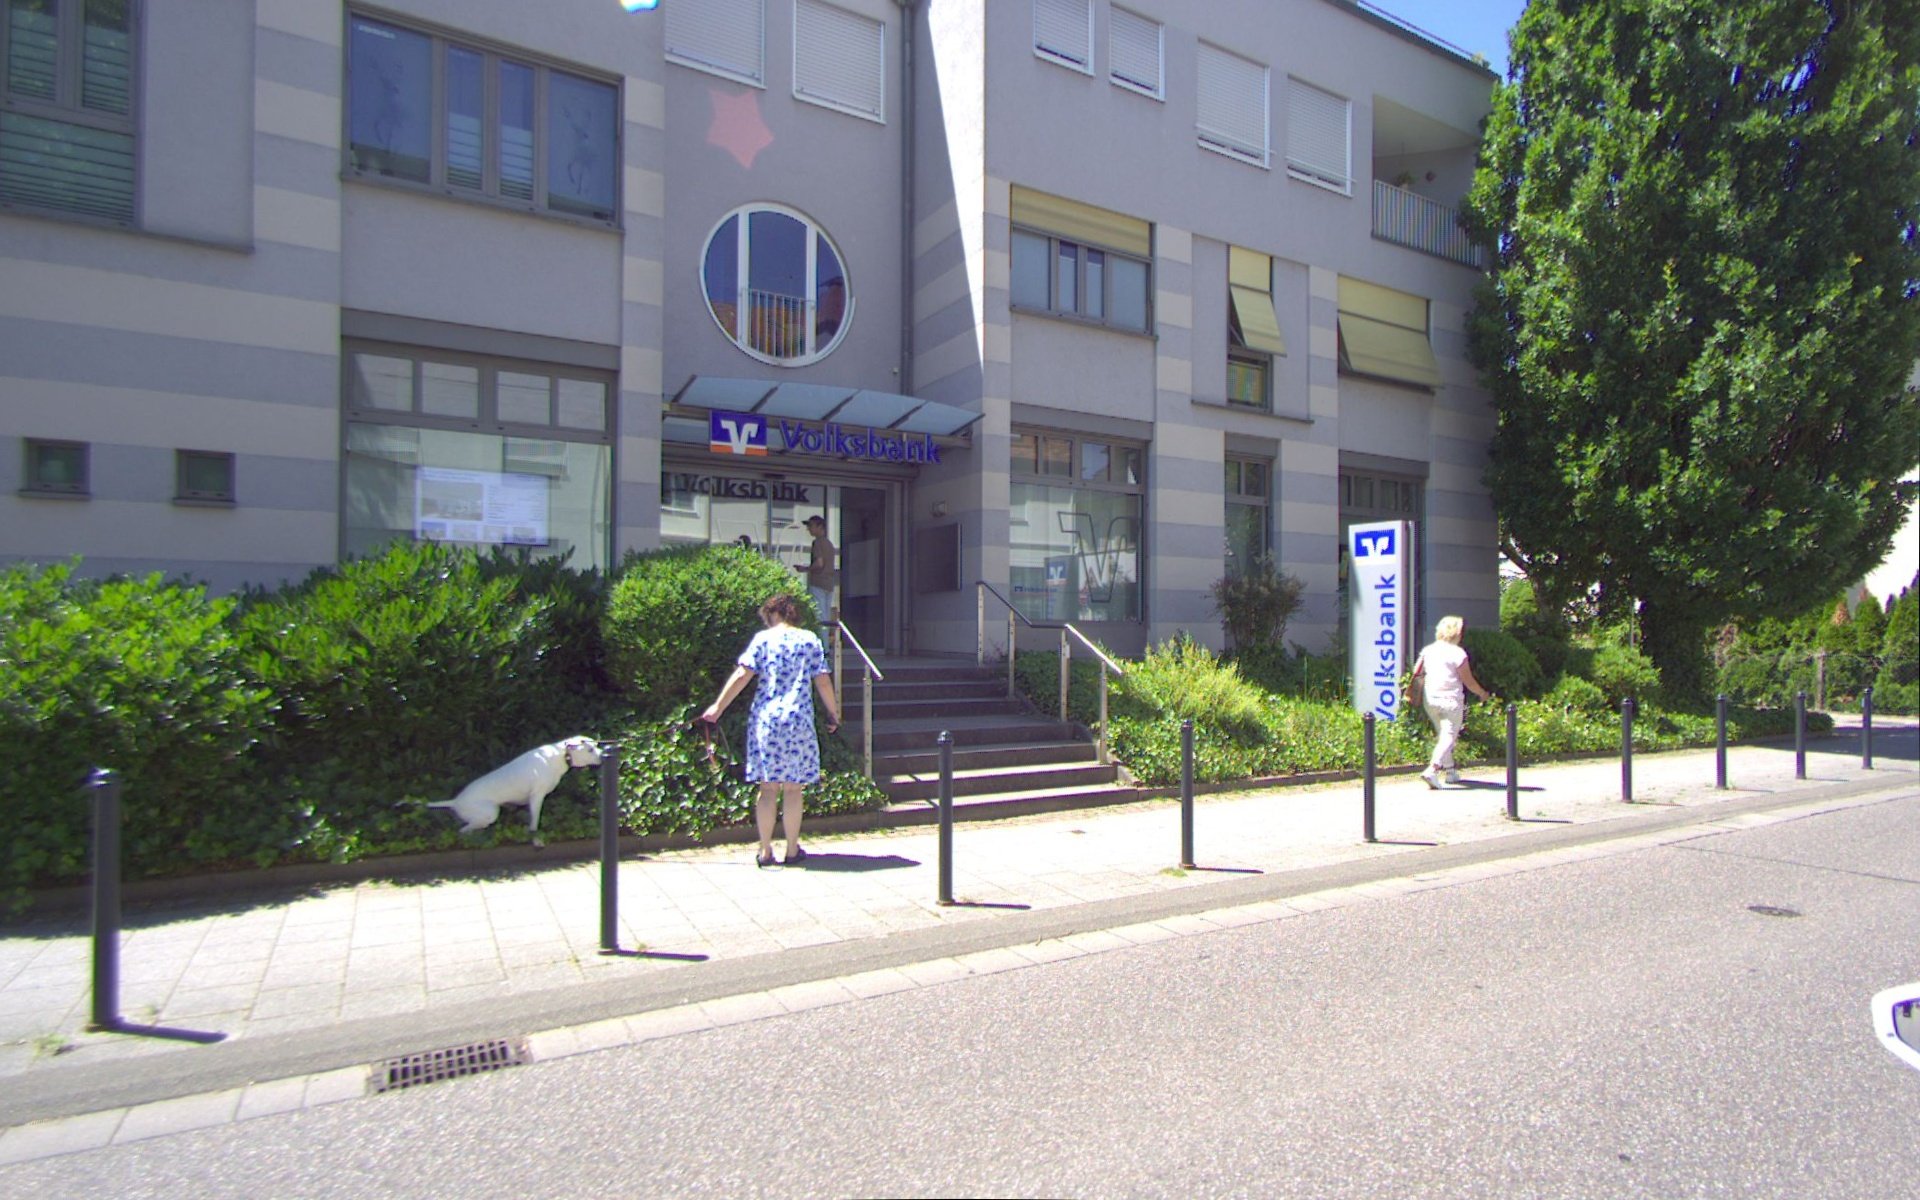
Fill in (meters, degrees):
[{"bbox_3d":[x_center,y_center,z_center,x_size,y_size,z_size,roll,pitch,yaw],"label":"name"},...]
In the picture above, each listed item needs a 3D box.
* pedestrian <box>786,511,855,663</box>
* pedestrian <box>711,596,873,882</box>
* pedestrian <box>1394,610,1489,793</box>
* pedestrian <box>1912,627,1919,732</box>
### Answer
[{"bbox_3d":[-1.676,-0.144,12.104,0.570,1.762,0.611,0,-1,25],"label":"pedestrian"},{"bbox_3d":[-1.086,0.820,6.402,0.742,1.667,0.842,2,0,-29],"label":"pedestrian"},{"bbox_3d":[4.702,0.962,9.814,0.700,1.707,0.534,1,-1,-30],"label":"pedestrian"},{"bbox_3d":[16.012,1.296,16.384,0.700,1.707,0.534,1,-1,-30],"label":"pedestrian"}]
